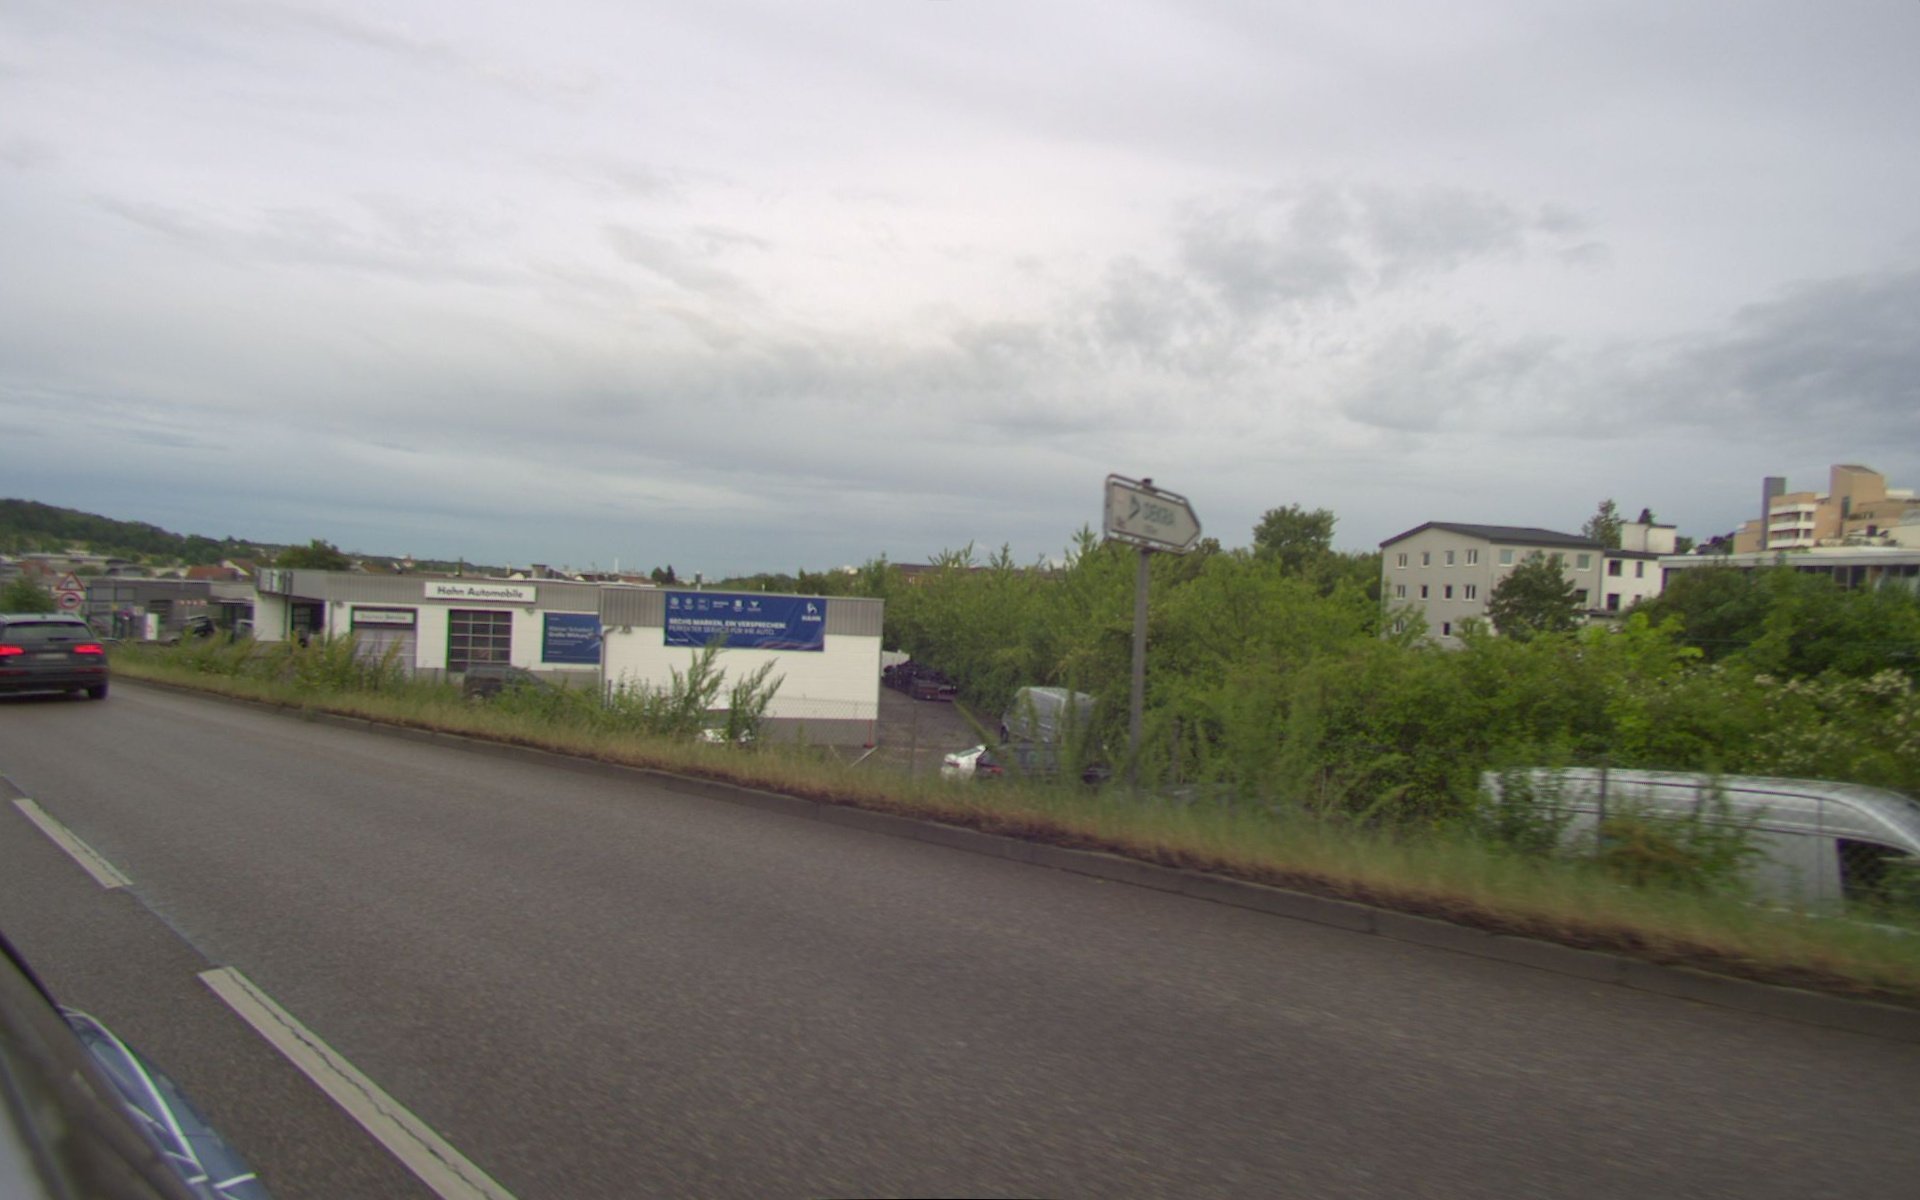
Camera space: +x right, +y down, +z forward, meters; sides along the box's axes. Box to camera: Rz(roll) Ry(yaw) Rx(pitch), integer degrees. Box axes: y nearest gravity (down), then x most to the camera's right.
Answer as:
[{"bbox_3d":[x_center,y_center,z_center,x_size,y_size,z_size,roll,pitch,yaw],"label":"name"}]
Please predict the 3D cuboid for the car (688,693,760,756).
[{"bbox_3d":[-8.022,4.133,34.133,1.836,1.817,4.655,5,-6,-18],"label":"car"}]

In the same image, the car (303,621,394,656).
[{"bbox_3d":[-38.496,2.413,63.803,4.410,1.975,1.994,3,-2,-14],"label":"car"}]

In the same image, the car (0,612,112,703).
[{"bbox_3d":[-18.151,1.057,19.649,4.411,1.598,1.850,-1,-2,40],"label":"car"}]

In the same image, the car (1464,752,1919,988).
[{"bbox_3d":[8.233,2.671,10.614,1.957,1.704,4.939,7,-7,-34],"label":"car"}]

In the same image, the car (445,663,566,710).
[{"bbox_3d":[-20.602,3.938,46.075,4.565,1.817,1.871,5,-6,-11],"label":"car"}]

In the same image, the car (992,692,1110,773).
[{"bbox_3d":[3.292,4.907,38.392,1.951,2.480,6.615,5,-4,-17],"label":"car"}]

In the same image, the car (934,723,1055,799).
[{"bbox_3d":[0.867,4.477,28.682,1.836,1.705,4.655,5,-6,-18],"label":"car"}]
